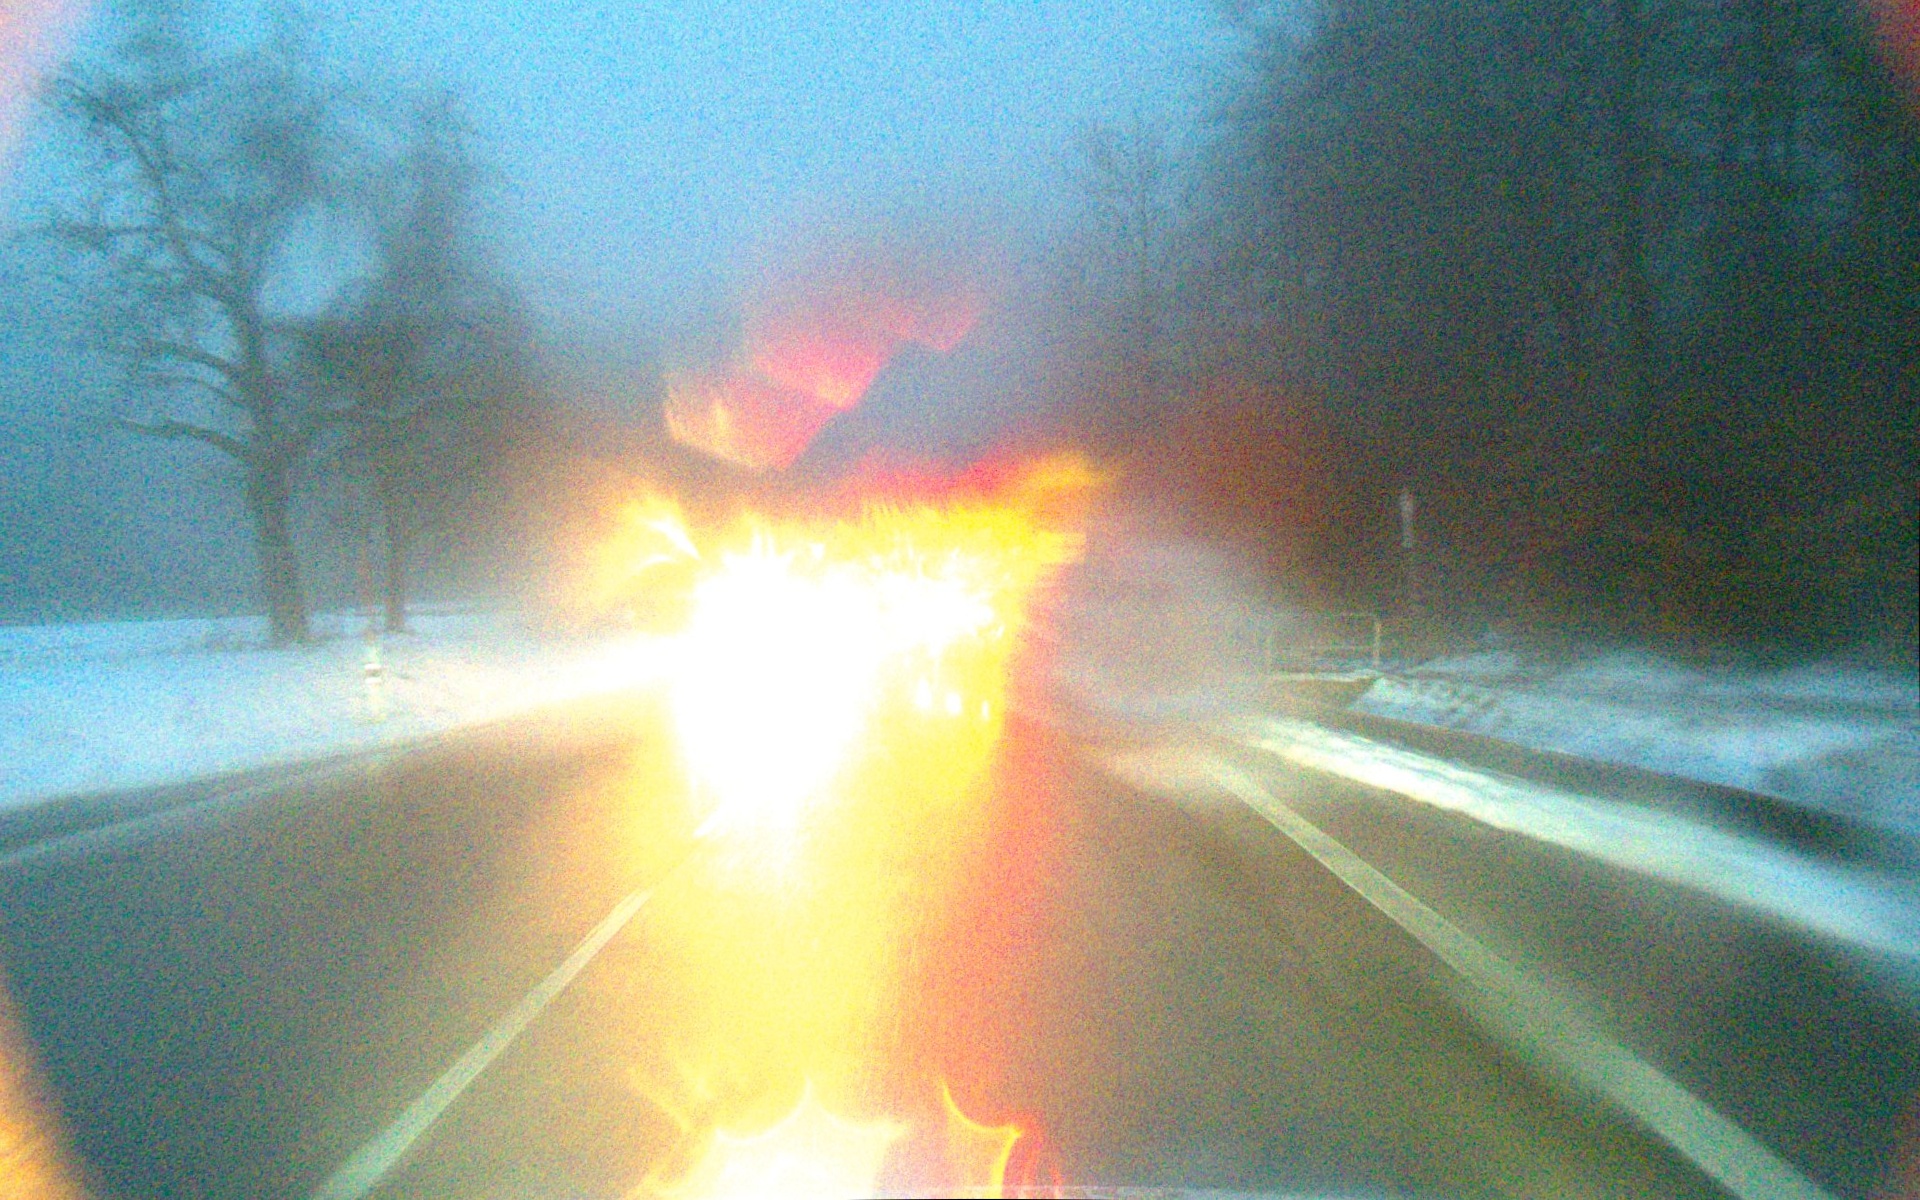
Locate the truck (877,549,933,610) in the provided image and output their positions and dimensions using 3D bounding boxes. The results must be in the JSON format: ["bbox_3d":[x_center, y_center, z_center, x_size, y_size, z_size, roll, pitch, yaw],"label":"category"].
[{"bbox_3d":[-2.654,-0.971,78.381,2.037,2.793,5.308,0,1,-9],"label":"truck"}]

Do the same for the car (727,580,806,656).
[{"bbox_3d":[-4.723,0.391,40.880,1.718,1.723,4.422,-2,1,-5],"label":"car"}]

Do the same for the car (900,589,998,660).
[{"bbox_3d":[-0.288,0.475,35.386,1.884,1.299,3.998,-1,2,-3],"label":"car"}]

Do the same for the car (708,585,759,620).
[{"bbox_3d":[-11.104,0.086,81.413,1.705,1.512,4.006,-3,1,2],"label":"car"}]
